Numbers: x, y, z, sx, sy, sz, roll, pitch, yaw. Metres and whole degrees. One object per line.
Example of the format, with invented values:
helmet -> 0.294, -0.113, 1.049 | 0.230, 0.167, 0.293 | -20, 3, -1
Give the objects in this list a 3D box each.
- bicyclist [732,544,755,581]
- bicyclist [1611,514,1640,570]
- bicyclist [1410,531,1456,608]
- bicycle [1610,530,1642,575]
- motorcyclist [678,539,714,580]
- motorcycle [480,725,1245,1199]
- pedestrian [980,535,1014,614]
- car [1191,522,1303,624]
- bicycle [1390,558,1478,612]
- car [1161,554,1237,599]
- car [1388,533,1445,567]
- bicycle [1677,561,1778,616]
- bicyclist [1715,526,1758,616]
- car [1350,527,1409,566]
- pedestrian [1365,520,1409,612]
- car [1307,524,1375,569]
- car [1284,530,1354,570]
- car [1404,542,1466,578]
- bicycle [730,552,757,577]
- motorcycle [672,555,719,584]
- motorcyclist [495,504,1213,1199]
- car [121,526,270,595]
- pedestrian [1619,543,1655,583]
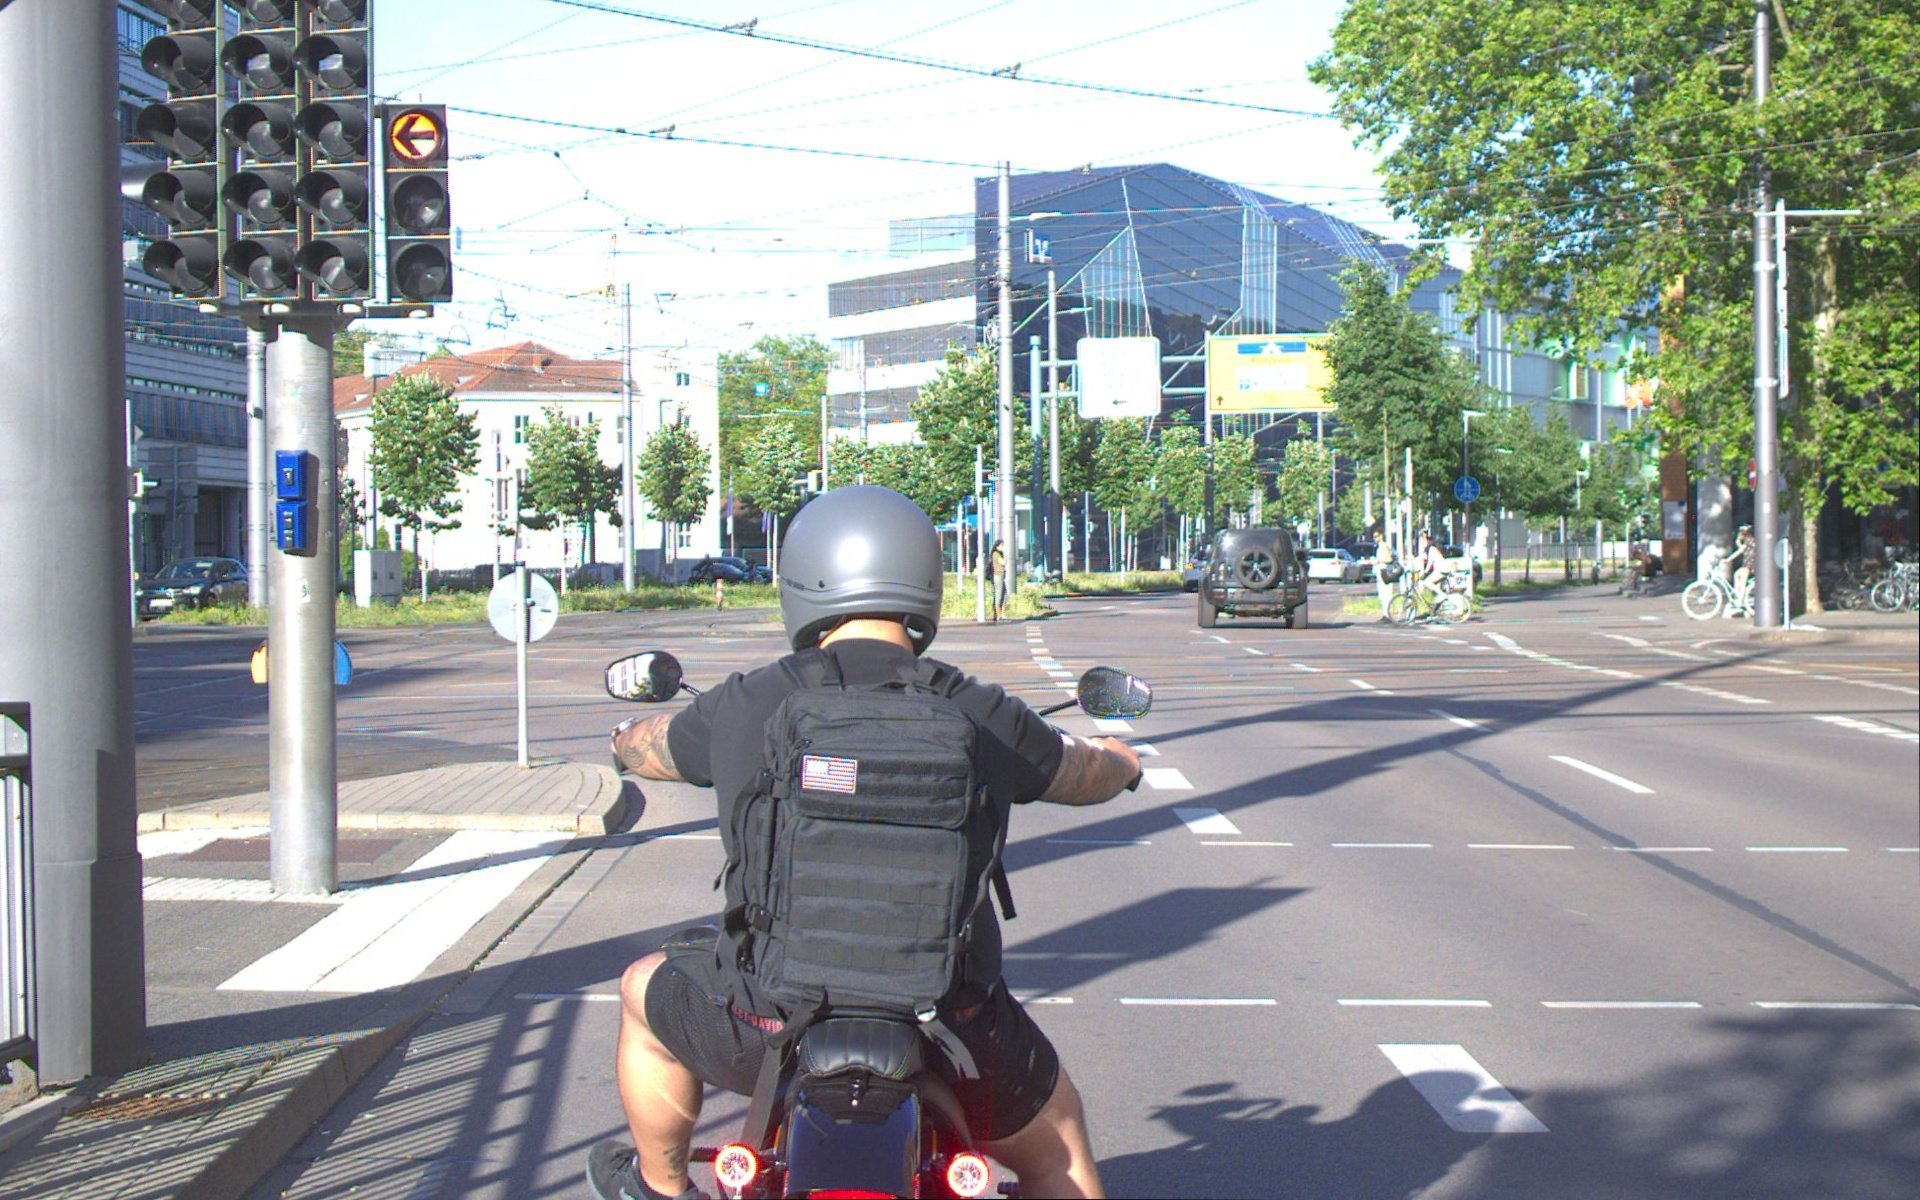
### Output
bicyclist -> -9.788, -1.699, 155.491 | 0.764, 1.661, 0.993 | 0, 1, 17
bicyclist -> 21.974, -1.931, 113.504 | 0.861, 1.834, 1.256 | 0, 1, 15
bicyclist -> 9.242, -0.600, 67.191 | 0.743, 1.498, 0.569 | -1, 0, 23
bicycle -> 21.986, -1.574, 113.453 | 0.861, 1.476, 2.574 | 0, 1, 15
motorcyclist -> -11.277, -1.726, 146.943 | 1.019, 1.725, 1.459 | 0, 1, 18
motorcycle -> -0.147, 0.839, 5.715 | 1.005, 1.121, 2.323 | 1, 1, -1
pedestrian -> 0.748, -0.511, 68.891 | 0.657, 1.577, 0.489 | 0, 1, 3
car -> 5.547, -0.528, 66.052 | 2.053, 1.867, 4.226 | 1, 1, 6
bicycle -> 9.261, -0.293, 67.166 | 1.629, 1.018, 0.516 | -1, 0, 23
car -> 8.283, -0.810, 118.736 | 1.903, 1.503, 3.997 | 1, 1, 14
car -> 20.735, -2.272, 156.016 | 1.722, 1.479, 3.750 | 0, 1, 21
bicycle -> 14.577, -0.221, 65.311 | 1.853, 1.018, 0.516 | -1, 0, 11
bicyclist -> 14.744, -0.556, 65.283 | 0.743, 1.689, 0.570 | -1, 0, 11
car -> 18.096, -2.310, 148.240 | 1.722, 1.651, 3.750 | 0, 1, 20
pedestrian -> 8.597, -0.681, 69.265 | 0.701, 1.830, 0.514 | 1, 0, 35
car -> 15.668, -2.221, 141.185 | 1.821, 1.811, 3.939 | 0, 1, 21
car -> 14.086, -1.964, 134.834 | 1.775, 1.509, 3.728 | 0, 1, 22
car -> 19.705, -1.663, 142.568 | 1.843, 1.459, 3.996 | 1, 1, 18
bicycle -> -9.775, -1.603, 155.466 | 0.643, 1.104, 1.683 | 0, 1, 18
motorcycle -> -11.303, -1.300, 146.816 | 0.984, 1.227, 2.940 | 0, 1, 17
motorcyclist -> -0.164, 0.630, 5.603 | 1.022, 1.547, 1.286 | 1, 1, -1
car -> -17.467, -0.928, 78.742 | 1.792, 1.461, 4.309 | -1, 2, 10
pedestrian -> 17.867, -0.977, 90.672 | 0.785, 1.053, 0.813 | 0, 1, 22
